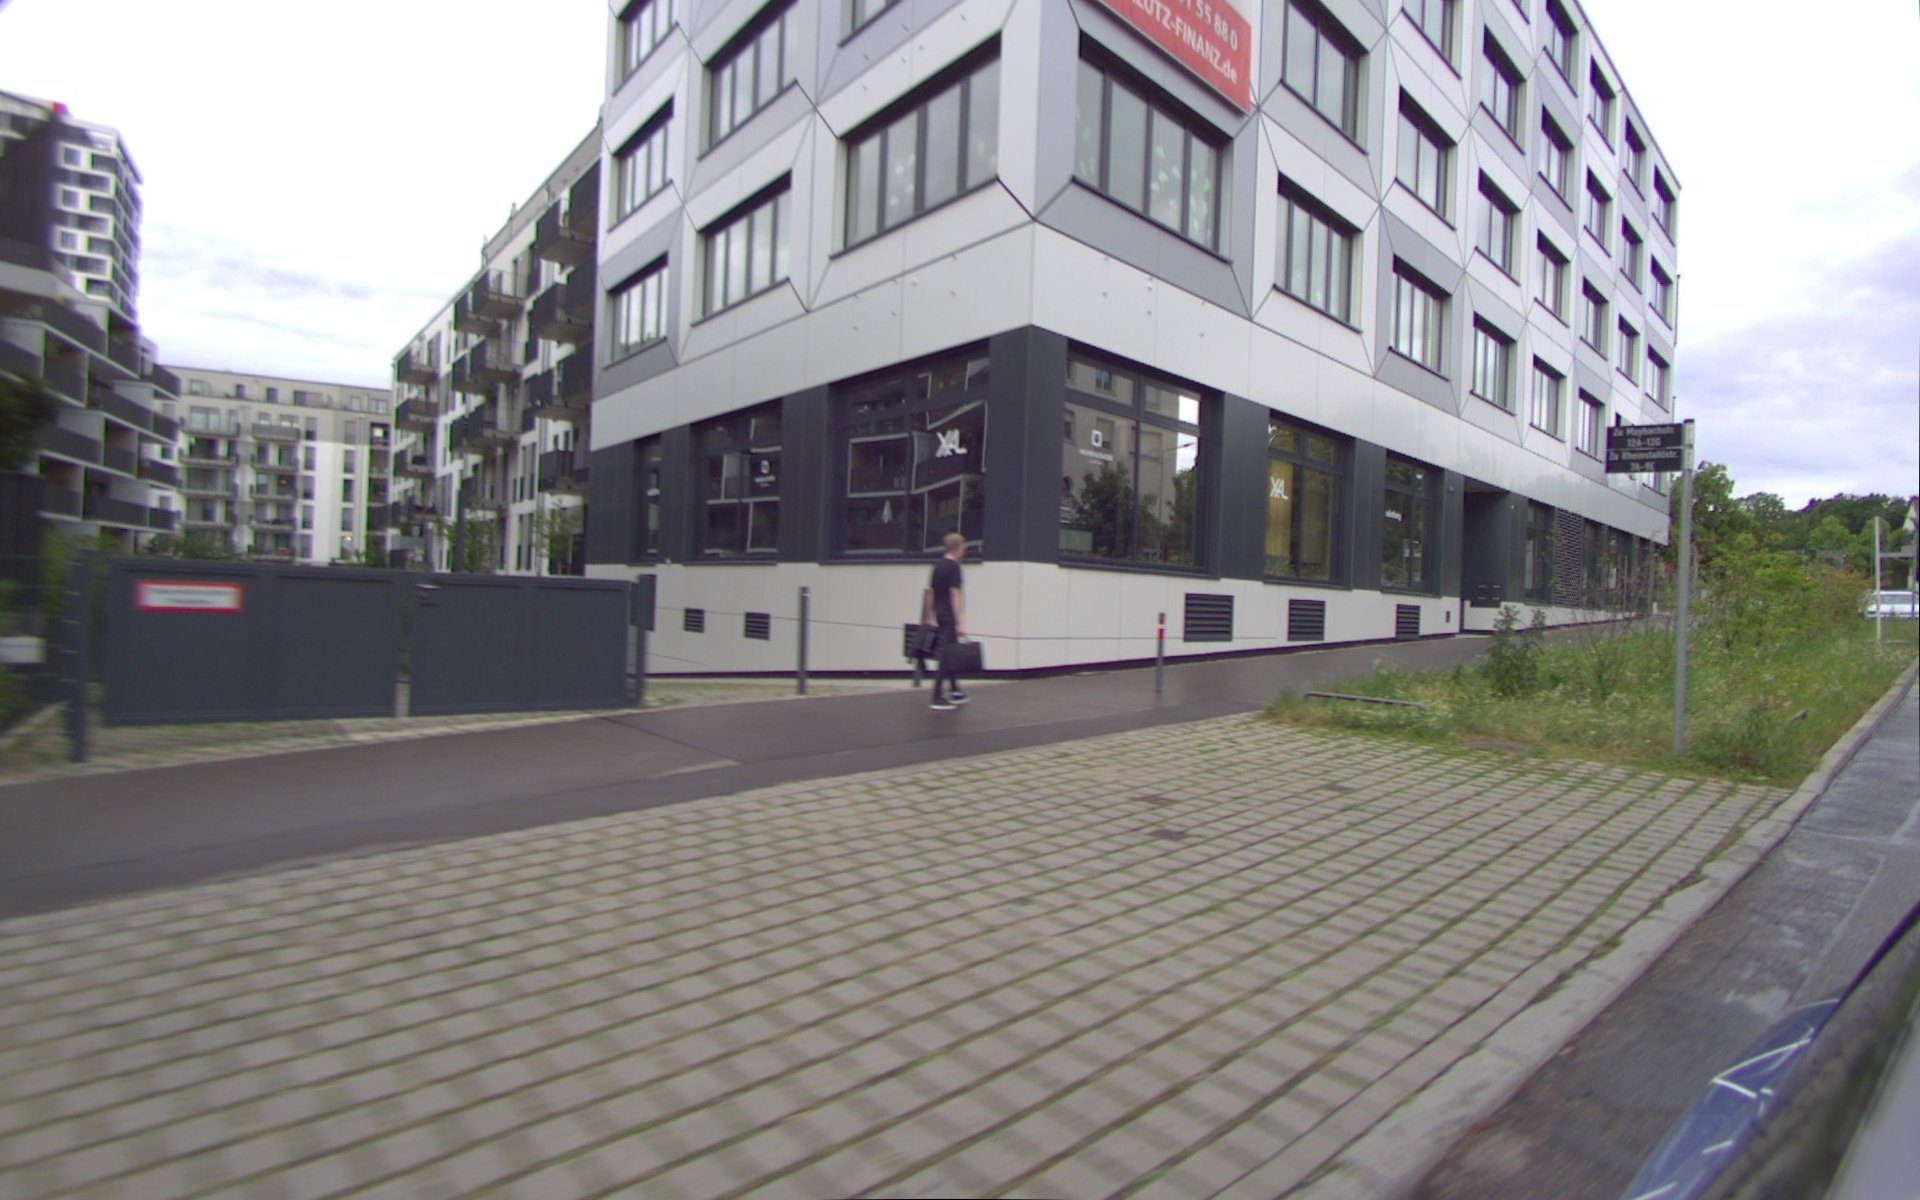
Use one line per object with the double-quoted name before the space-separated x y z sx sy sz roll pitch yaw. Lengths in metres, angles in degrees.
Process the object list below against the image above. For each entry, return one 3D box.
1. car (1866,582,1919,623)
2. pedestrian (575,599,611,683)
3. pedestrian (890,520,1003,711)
"car" 35.176 0.110 37.714 2.037 1.483 4.435 0 -1 41
"pedestrian" -8.591 0.945 23.679 0.641 1.928 0.571 2 -2 -34
"pedestrian" -0.143 0.141 10.215 0.764 1.818 0.824 1 1 -41
